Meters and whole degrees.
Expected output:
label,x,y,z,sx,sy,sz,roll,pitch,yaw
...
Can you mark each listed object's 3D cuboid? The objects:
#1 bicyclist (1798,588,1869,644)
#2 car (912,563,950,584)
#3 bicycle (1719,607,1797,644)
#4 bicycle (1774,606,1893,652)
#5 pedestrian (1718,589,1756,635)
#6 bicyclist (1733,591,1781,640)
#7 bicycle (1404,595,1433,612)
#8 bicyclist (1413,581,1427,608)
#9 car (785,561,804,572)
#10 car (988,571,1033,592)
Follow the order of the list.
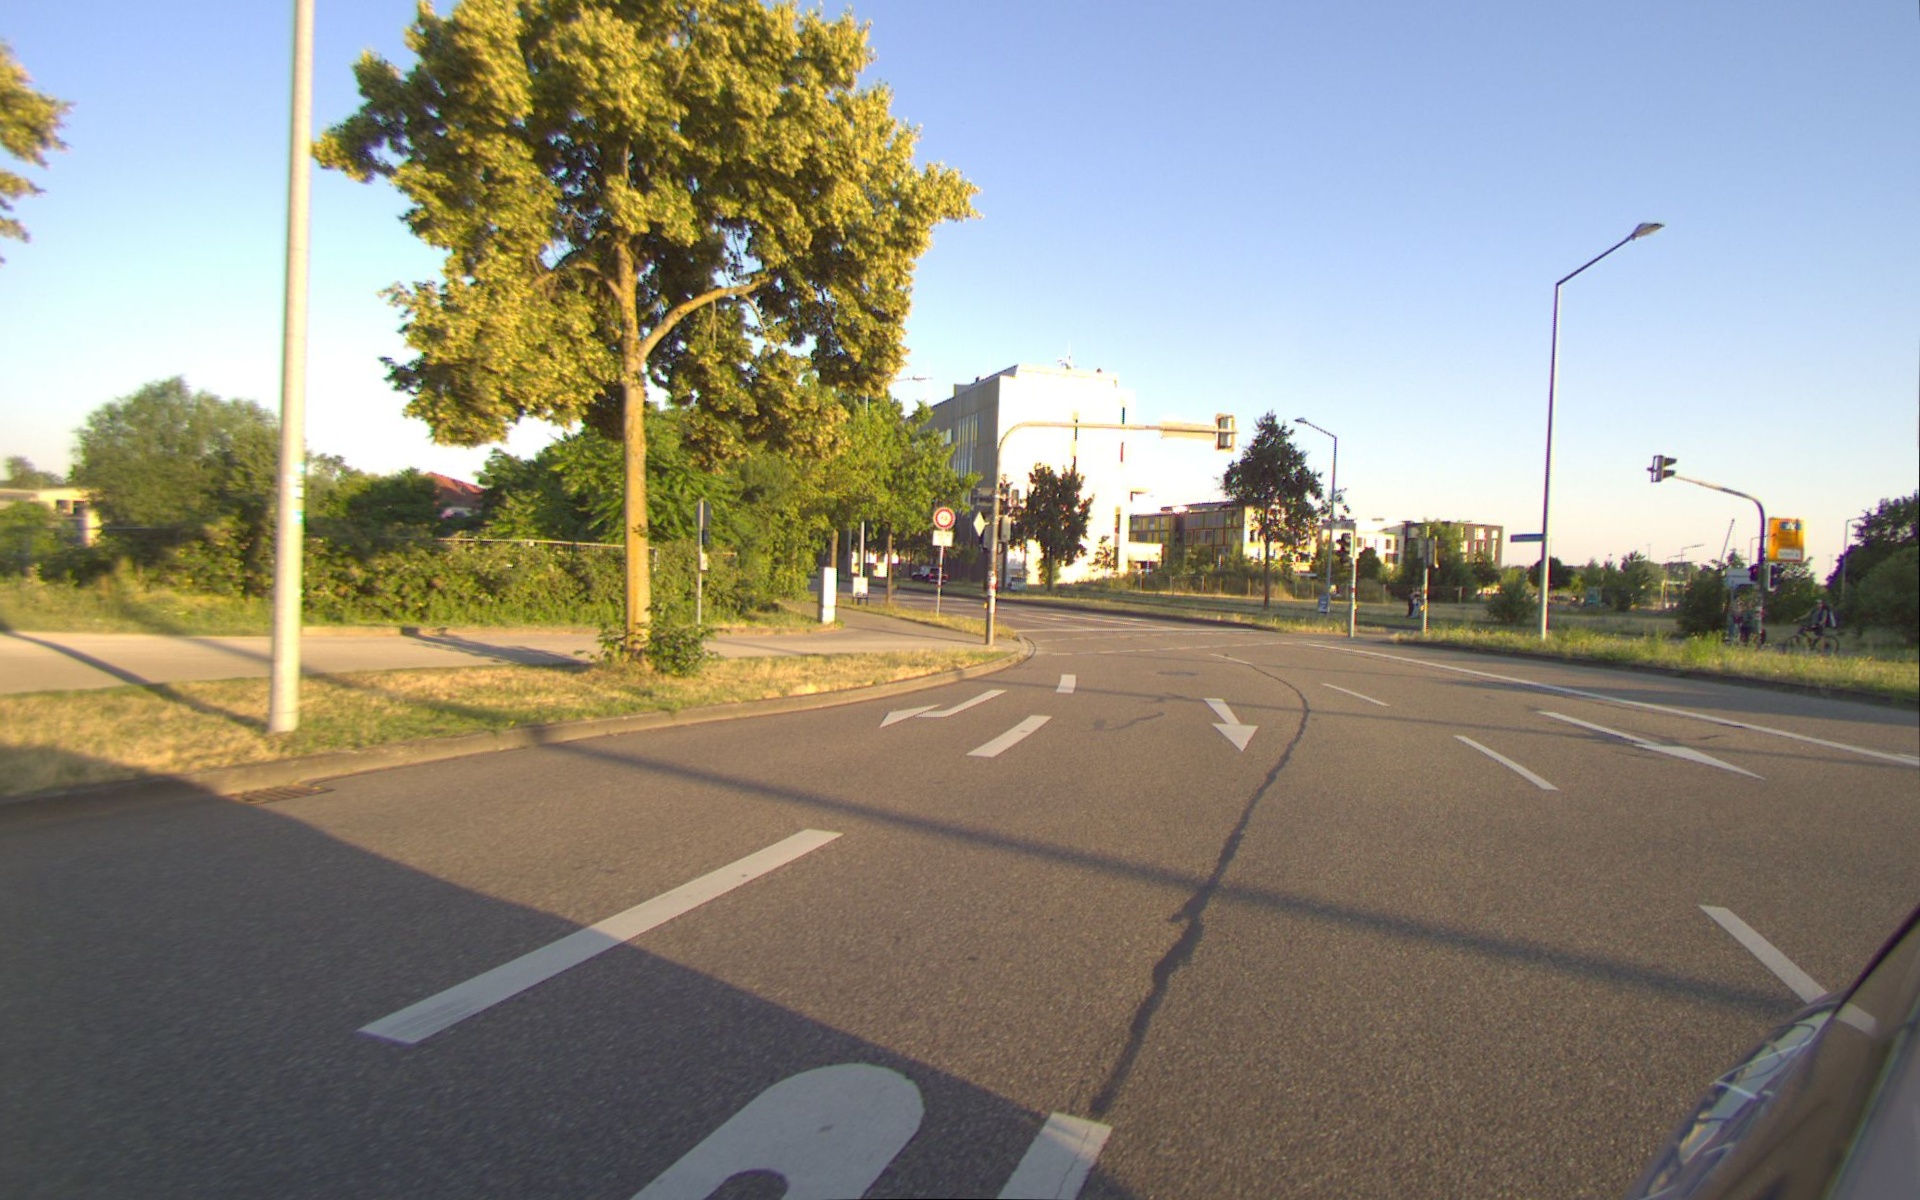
label,x,y,z,sx,sy,sz,roll,pitch,yaw
bicyclist,29.539,0.532,34.232,1.387,1.770,1.126,2,2,-12
car,-2.540,-2.328,88.202,1.958,1.772,4.140,2,1,-22
bicycle,28.247,0.913,35.827,2.280,1.193,0.812,2,2,-10
bicycle,29.499,0.972,34.200,3.465,1.412,1.126,2,2,-12
pedestrian,30.307,0.459,39.459,0.706,1.722,0.892,2,1,-26
bicyclist,28.161,0.532,35.782,0.980,1.652,0.812,2,2,-10
bicycle,24.363,0.180,53.792,0.464,0.801,1.421,2,2,-25
bicyclist,24.406,-0.291,53.716,0.464,1.415,0.449,2,1,-26
car,-24.568,-4.984,150.141,1.958,1.566,4.140,2,1,-22
car,3.929,-1.479,80.040,1.958,1.566,4.140,2,1,-22
